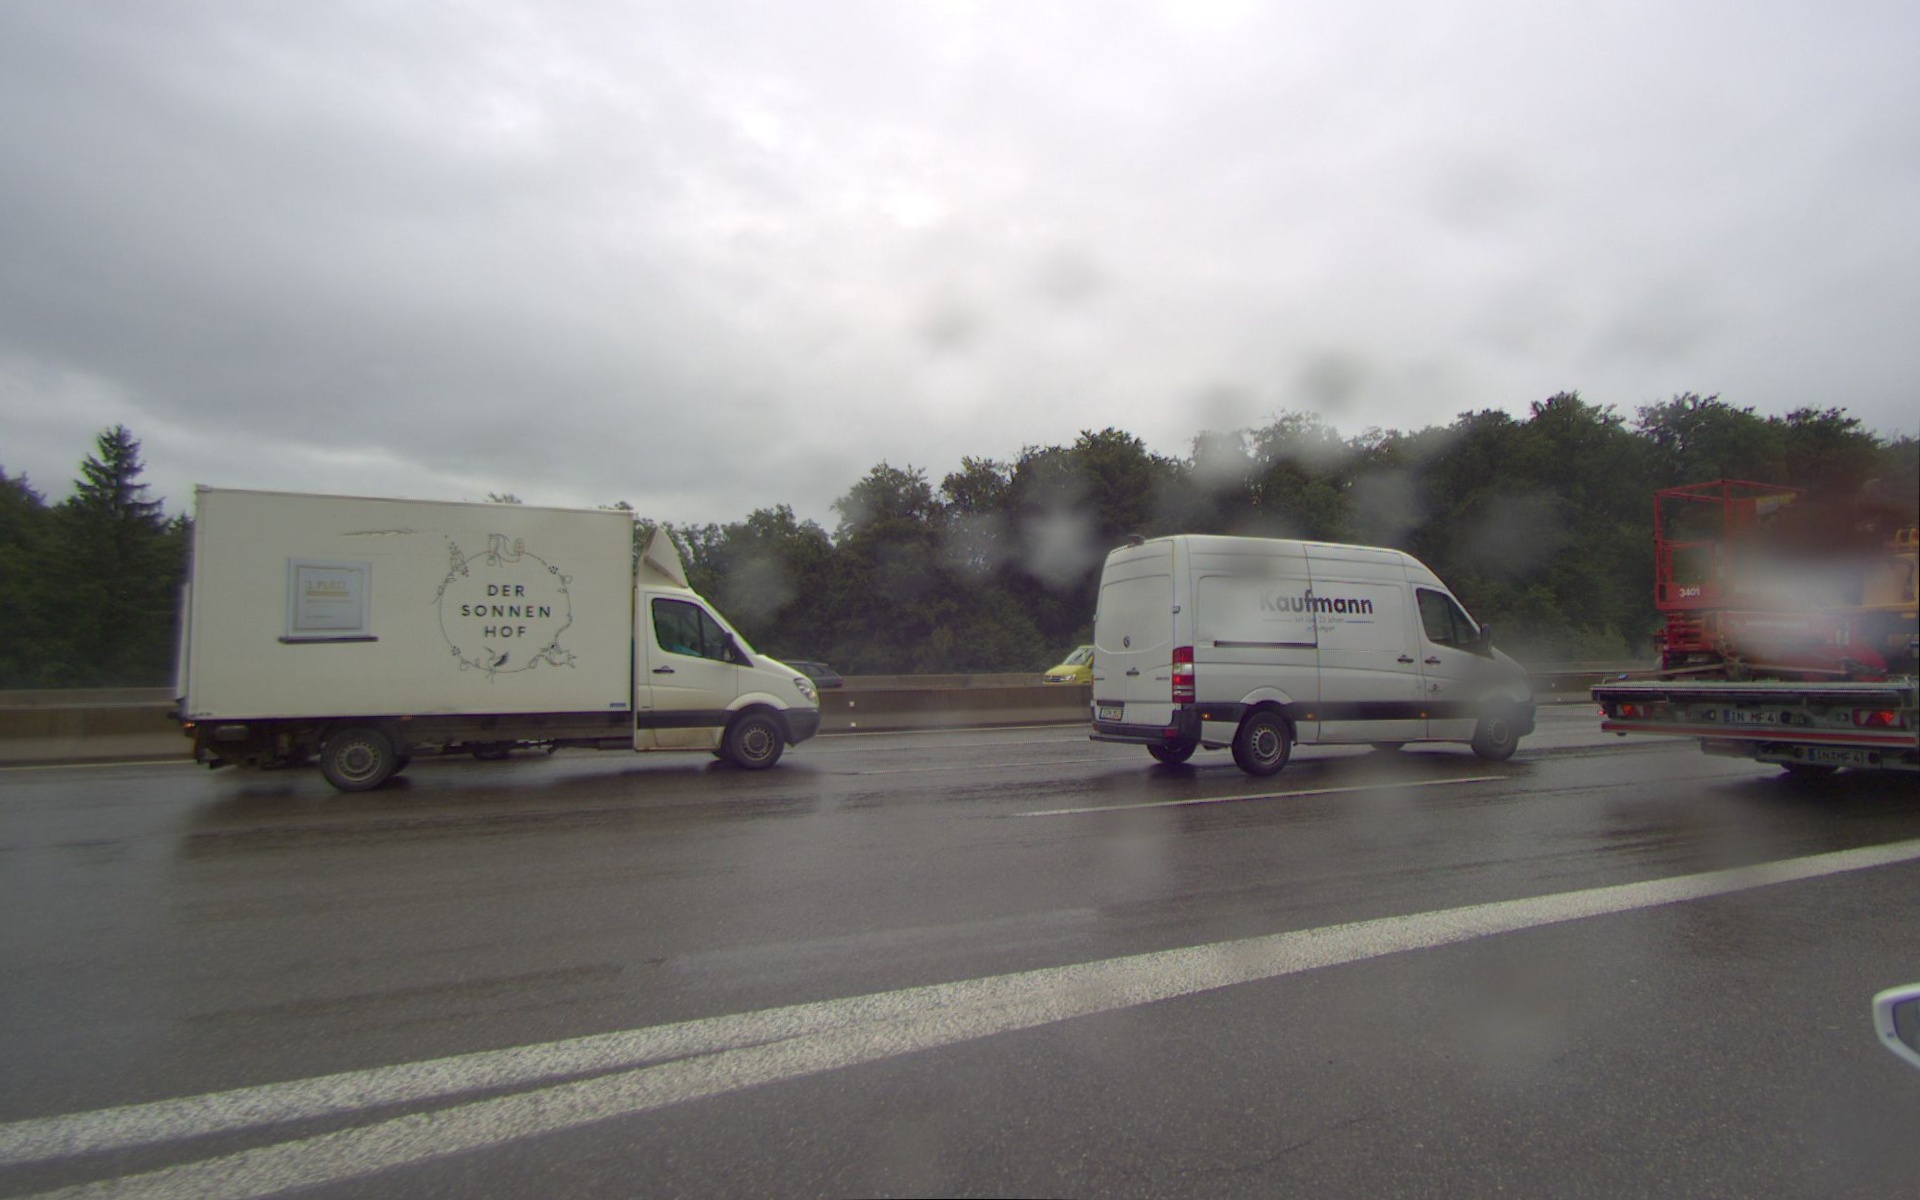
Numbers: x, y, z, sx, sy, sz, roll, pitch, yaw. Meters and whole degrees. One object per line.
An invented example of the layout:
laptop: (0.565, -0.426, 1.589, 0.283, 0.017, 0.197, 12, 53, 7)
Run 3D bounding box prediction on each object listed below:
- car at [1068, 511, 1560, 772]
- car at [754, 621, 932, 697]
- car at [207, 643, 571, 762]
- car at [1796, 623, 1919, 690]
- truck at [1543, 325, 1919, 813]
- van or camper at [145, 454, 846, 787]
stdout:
car: (4.389, 0.538, 12.424, 5.760, 2.664, 2.211, 1, -3, -23)
car: (-3.332, 1.636, 28.669, 4.671, 2.040, 1.989, 1, -1, -23)
car: (-7.989, 1.416, 14.566, 4.350, 1.542, 1.612, 1, -3, -22)
car: (24.296, 1.440, 26.169, 4.742, 1.614, 1.989, 1, -3, -25)
truck: (11.770, -0.054, 11.144, 11.633, 3.635, 2.825, 1, -4, -24)
van or camper: (-5.149, 0.340, 12.379, 7.030, 3.245, 2.574, 1, -3, -23)
